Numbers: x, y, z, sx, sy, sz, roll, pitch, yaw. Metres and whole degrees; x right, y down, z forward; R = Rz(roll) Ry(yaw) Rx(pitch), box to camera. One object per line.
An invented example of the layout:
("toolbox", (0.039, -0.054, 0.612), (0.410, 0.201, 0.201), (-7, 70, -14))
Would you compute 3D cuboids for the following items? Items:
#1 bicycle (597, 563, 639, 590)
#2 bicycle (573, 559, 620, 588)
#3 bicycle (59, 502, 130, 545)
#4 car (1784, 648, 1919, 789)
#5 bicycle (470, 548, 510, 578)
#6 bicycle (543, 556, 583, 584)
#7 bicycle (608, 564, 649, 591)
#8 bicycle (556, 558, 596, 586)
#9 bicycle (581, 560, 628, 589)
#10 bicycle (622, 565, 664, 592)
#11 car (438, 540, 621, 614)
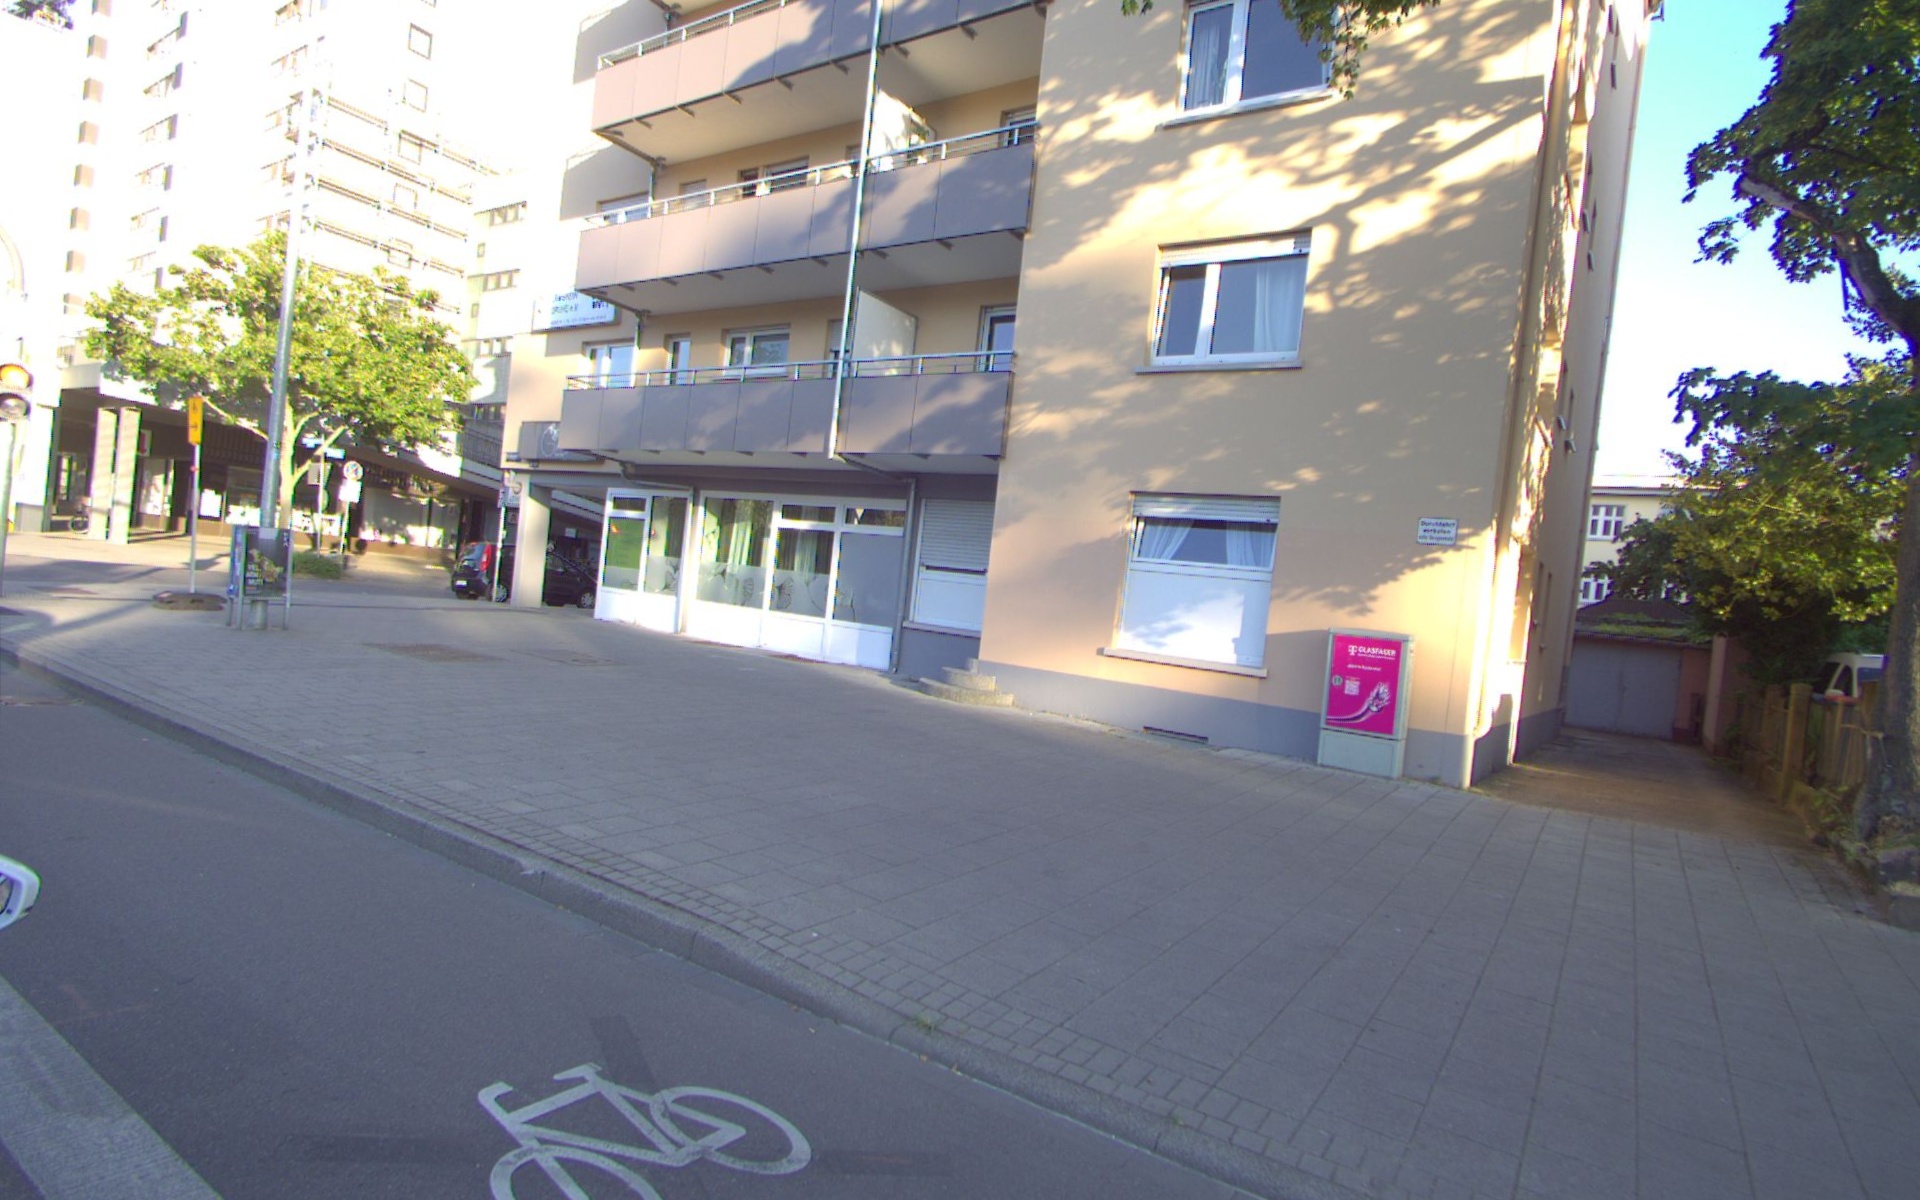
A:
("bicycle", (-16.189, -1.116, 47.608), (1.944, 1.086, 0.582), (6, -3, 30))
("bicycle", (-16.876, -1.218, 46.764), (1.939, 1.087, 0.583), (7, -2, 14))
("bicycle", (-29.046, -2.562, 33.768), (1.984, 1.162, 0.692), (7, -2, 15))
("car", (14.211, 1.746, 15.117), (1.794, 1.780, 4.512), (8, 2, 28))
("bicycle", (-20.124, -1.595, 43.047), (1.947, 1.086, 0.581), (5, -3, 36))
("bicycle", (-17.701, -1.350, 44.835), (1.947, 1.086, 0.581), (5, -3, 36))
("bicycle", (-15.817, -1.080, 48.040), (1.944, 1.086, 0.582), (6, -3, 30))
("bicycle", (-17.280, -1.256, 45.216), (1.947, 1.086, 0.581), (5, -3, 36))
("bicycle", (-16.678, -1.188, 47.204), (1.939, 1.086, 0.584), (7, -2, 10))
("bicycle", (-15.237, -1.032, 48.383), (1.942, 1.086, 0.583), (6, -3, 27))
("car", (-11.072, -0.558, 26.117), (1.681, 1.605, 4.036), (3, -1, 37))
